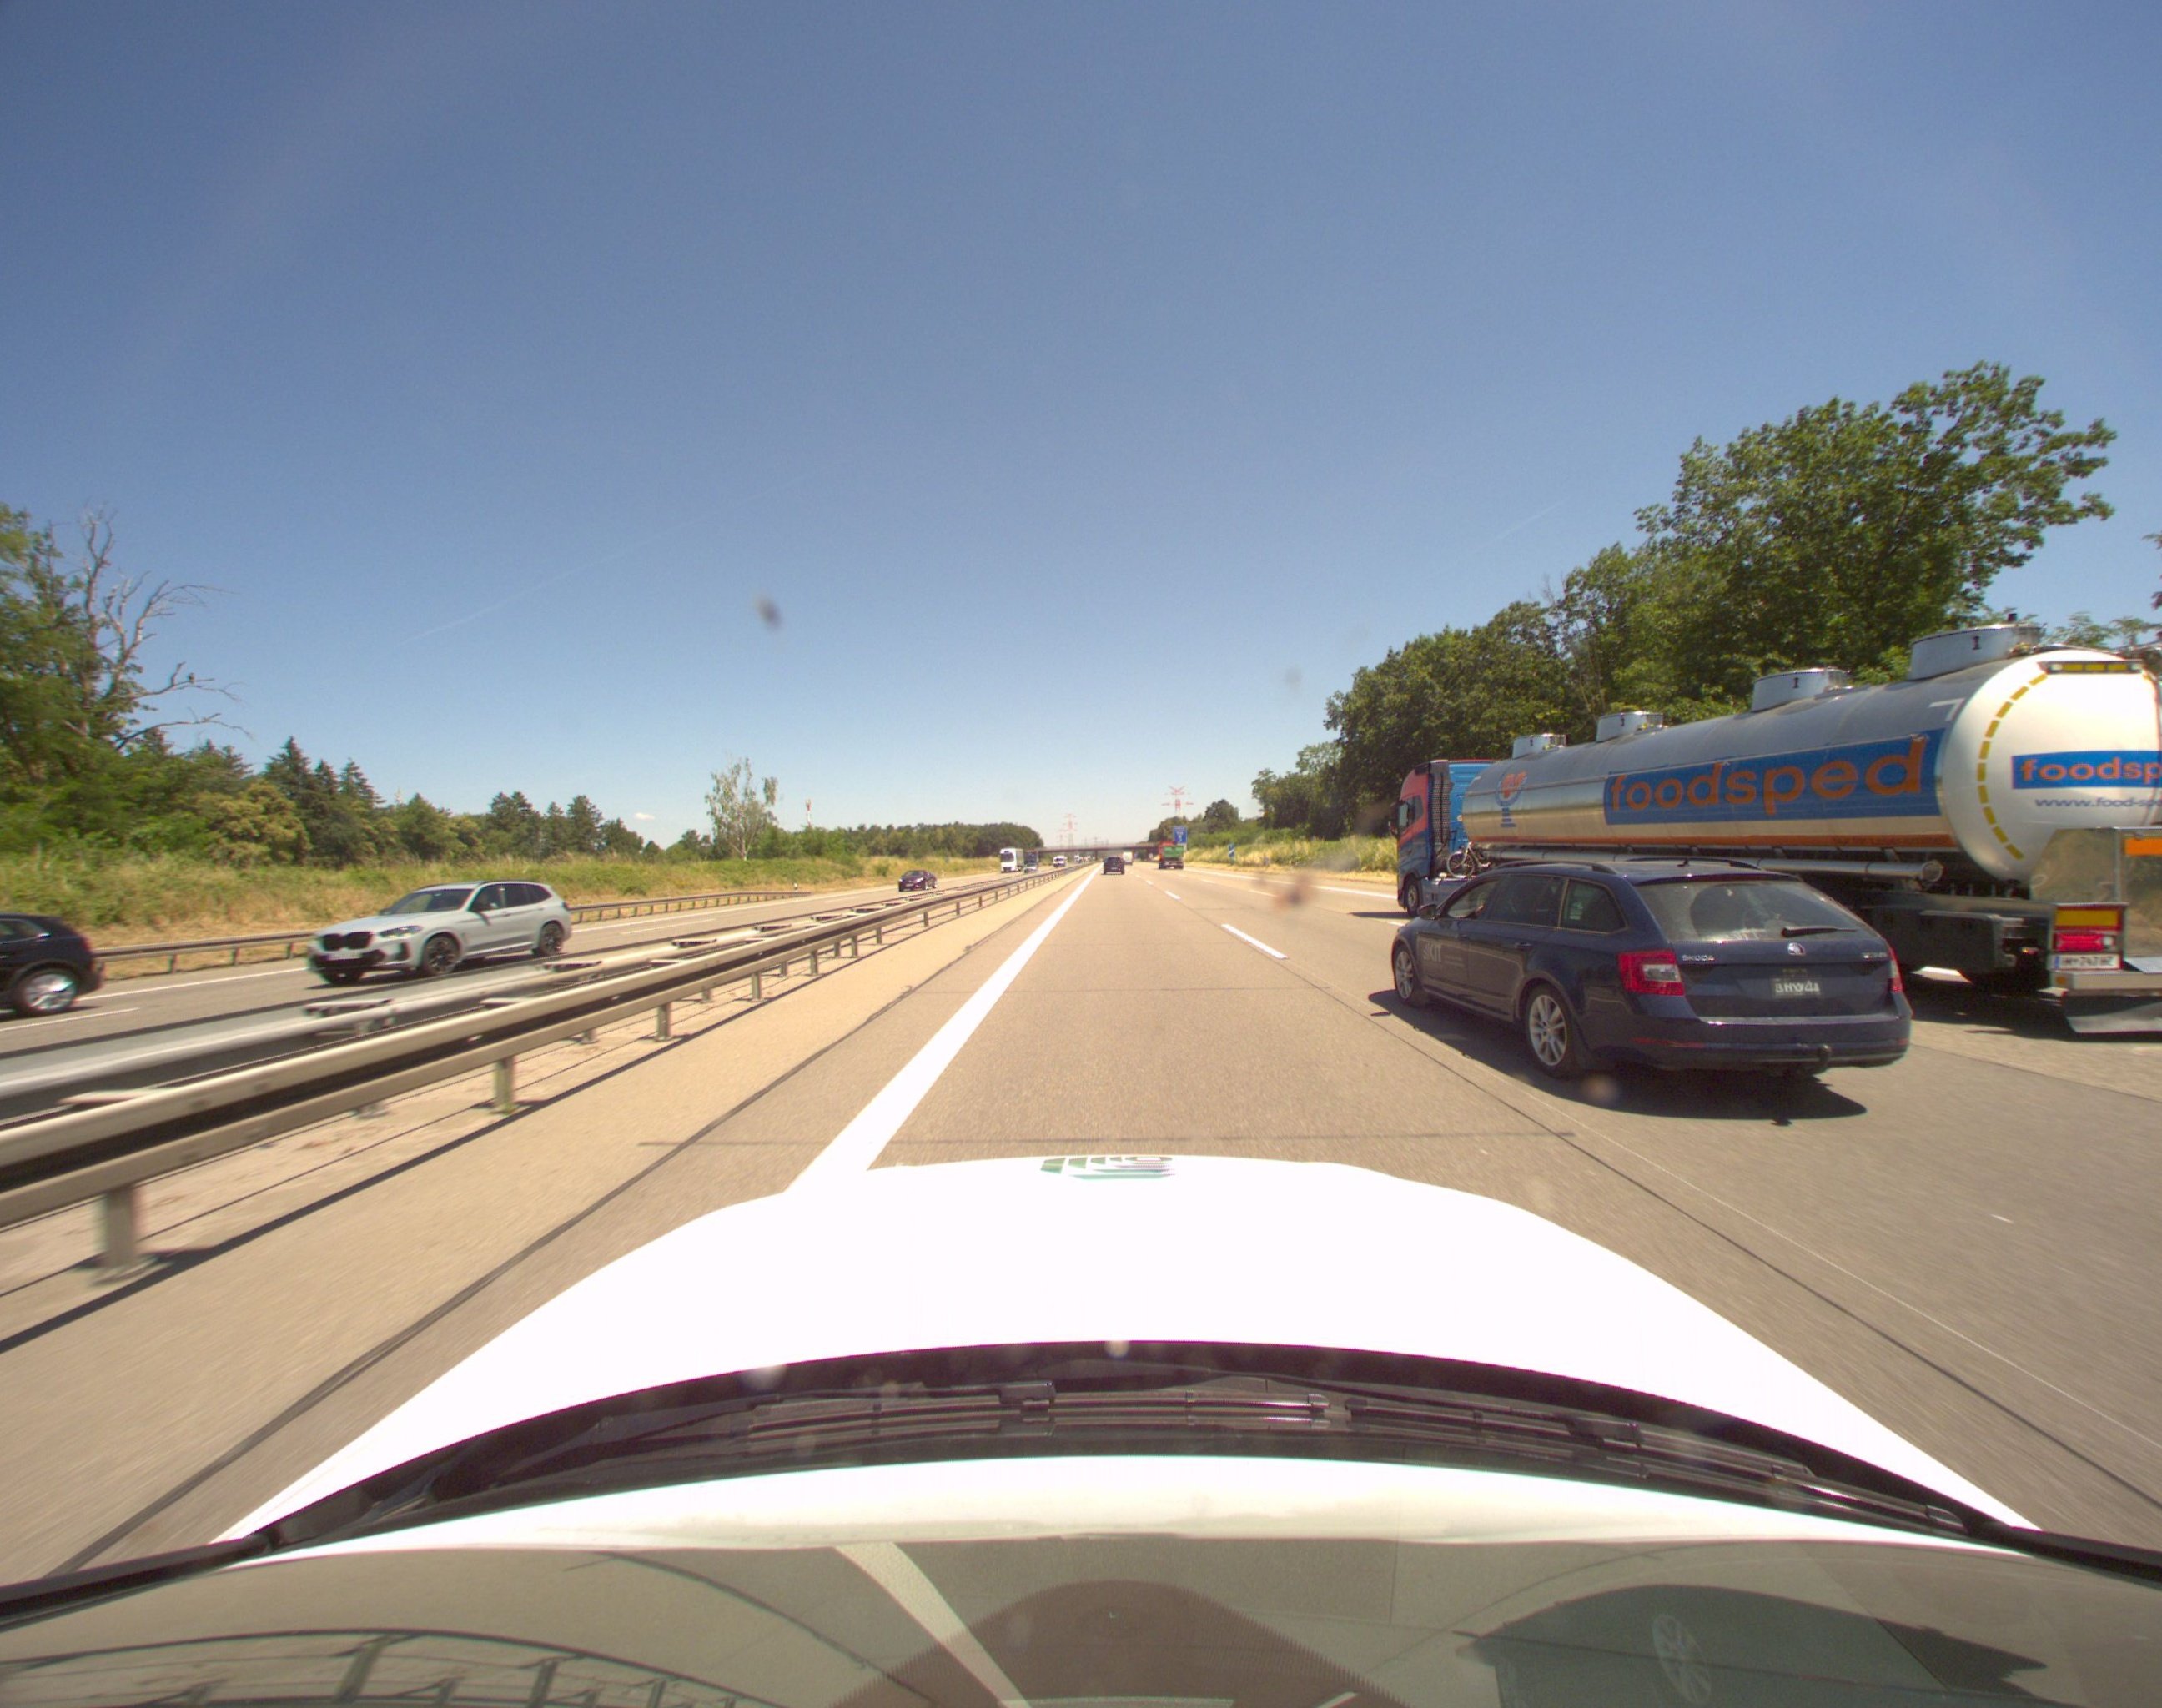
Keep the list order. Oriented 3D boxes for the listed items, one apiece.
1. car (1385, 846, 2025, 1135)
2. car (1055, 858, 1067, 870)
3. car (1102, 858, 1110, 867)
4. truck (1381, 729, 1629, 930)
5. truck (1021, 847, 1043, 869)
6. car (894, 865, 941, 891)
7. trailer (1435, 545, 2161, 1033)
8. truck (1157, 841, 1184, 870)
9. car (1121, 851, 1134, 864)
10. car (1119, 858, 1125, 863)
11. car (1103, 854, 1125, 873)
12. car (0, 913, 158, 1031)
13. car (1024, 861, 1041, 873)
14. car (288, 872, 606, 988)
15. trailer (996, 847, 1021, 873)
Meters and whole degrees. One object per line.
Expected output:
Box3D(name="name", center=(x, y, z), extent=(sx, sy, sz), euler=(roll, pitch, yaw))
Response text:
Box3D(name="car", center=(4.036, 0.721, 6.369), extent=(1.795, 1.483, 4.273), euler=(0, 0, 1))
Box3D(name="car", center=(-4.420, 2.143, 180.810), extent=(1.986, 2.570, 6.393), euler=(-4, 0, 2))
Box3D(name="car", center=(5.138, 1.691, 167.127), extent=(1.787, 1.750, 4.001), euler=(0, 0, 2))
Box3D(name="truck", center=(9.026, -0.444, 18.259), extent=(2.519, 3.734, 6.101), euler=(0, 0, 2))
Box3D(name="truck", center=(-10.822, 0.930, 181.858), extent=(3.364, 4.625, 12.192), euler=(-4, -1, 2))
Box3D(name="car", center=(-11.158, 1.628, 55.843), extent=(1.955, 1.525, 5.291), euler=(-3, 0, 1))
Box3D(name="trailer", center=(8.820, -0.478, 11.997), extent=(2.519, 3.734, 11.553), euler=(0, 0, 2))
Box3D(name="truck", center=(12.071, 0.238, 111.099), extent=(2.670, 3.798, 12.483), euler=(-1, 0, 2))
Box3D(name="car", center=(9.941, 0.731, 173.383), extent=(2.611, 2.759, 6.099), euler=(-1, 0, 2))
Box3D(name="car", center=(13.096, 2.051, 258.760), extent=(1.740, 1.634, 4.005), euler=(-1, 0, 2))
Box3D(name="car", center=(3.114, 0.936, 77.763), extent=(1.986, 1.750, 4.001), euler=(-1, 0, 2))
Box3D(name="car", center=(-16.343, 1.789, 11.069), extent=(1.825, 1.554, 4.951), euler=(-3, 0, 1))
Box3D(name="car", center=(-6.871, 1.833, 116.495), extent=(1.955, 1.429, 5.291), euler=(-3, 0, 1))
Box3D(name="car", center=(-11.968, 1.304, 16.032), extent=(1.955, 1.718, 5.291), euler=(-3, 0, 1))
Box3D(name="trailer", center=(-12.430, 1.077, 139.790), extent=(3.143, 4.198, 6.328), euler=(-4, -1, 2))
